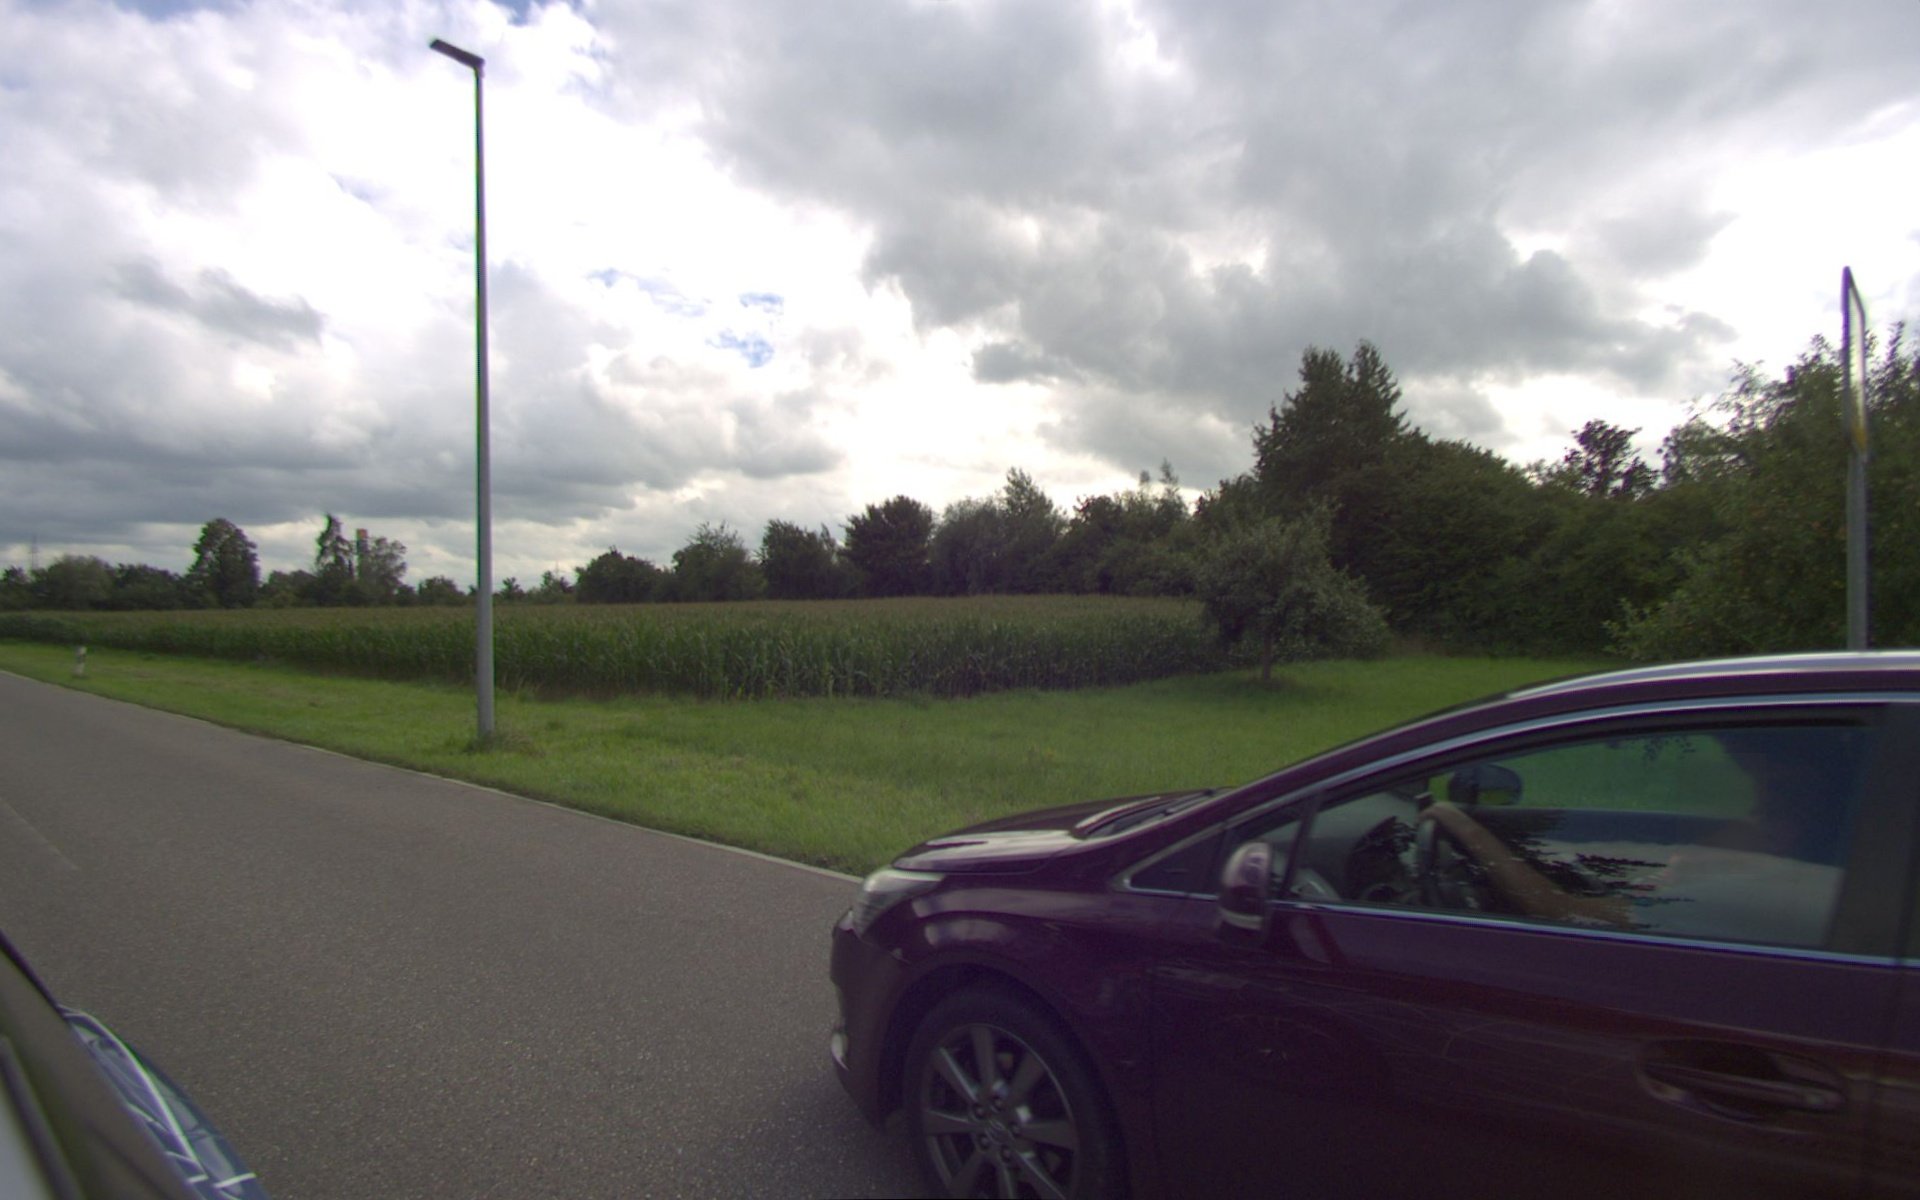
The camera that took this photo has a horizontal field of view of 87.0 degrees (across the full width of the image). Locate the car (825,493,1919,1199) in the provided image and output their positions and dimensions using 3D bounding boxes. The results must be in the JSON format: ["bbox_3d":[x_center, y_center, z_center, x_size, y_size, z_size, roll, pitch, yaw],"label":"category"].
[{"bbox_3d":[1.846,0.679,1.832,4.179,1.564,1.845,-1,-3,41],"label":"car"}]
